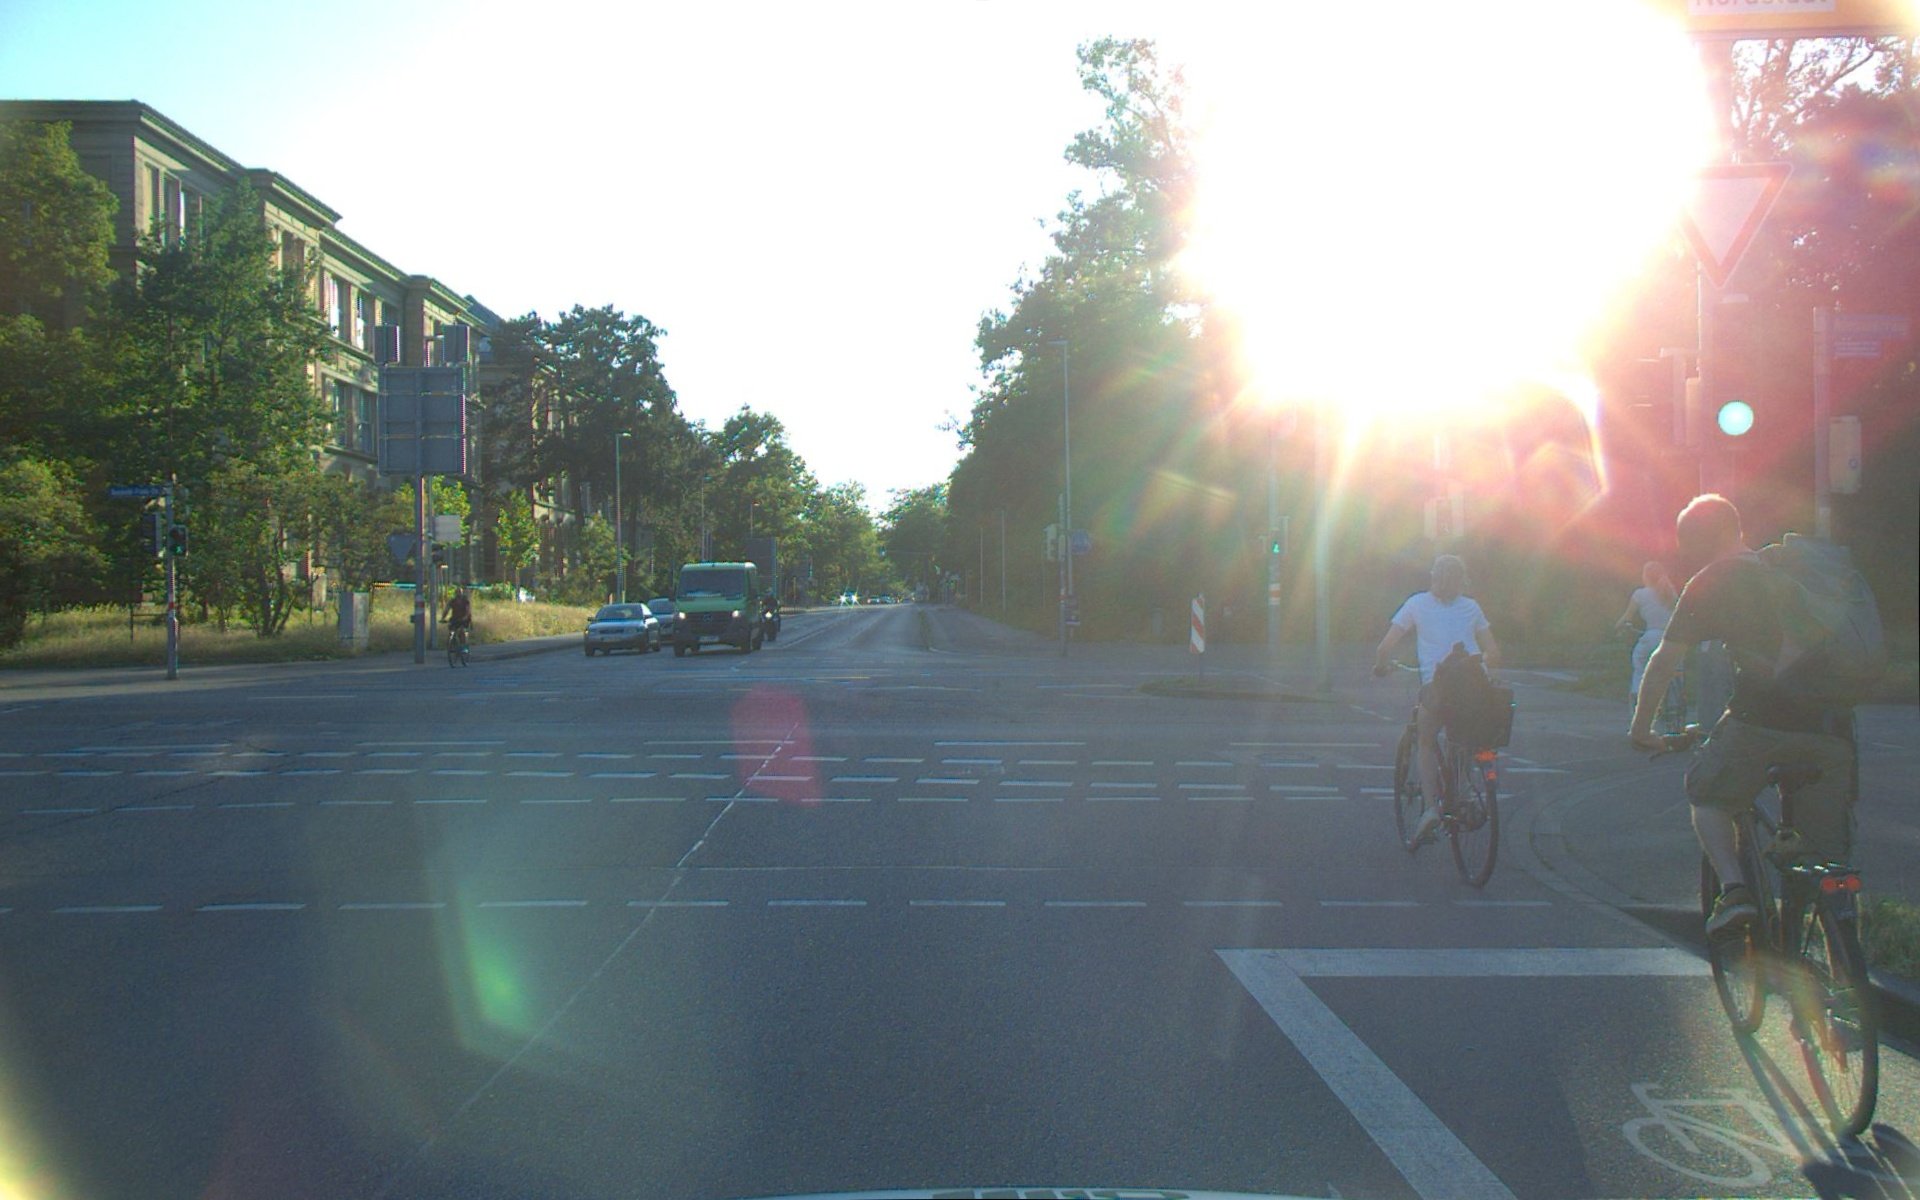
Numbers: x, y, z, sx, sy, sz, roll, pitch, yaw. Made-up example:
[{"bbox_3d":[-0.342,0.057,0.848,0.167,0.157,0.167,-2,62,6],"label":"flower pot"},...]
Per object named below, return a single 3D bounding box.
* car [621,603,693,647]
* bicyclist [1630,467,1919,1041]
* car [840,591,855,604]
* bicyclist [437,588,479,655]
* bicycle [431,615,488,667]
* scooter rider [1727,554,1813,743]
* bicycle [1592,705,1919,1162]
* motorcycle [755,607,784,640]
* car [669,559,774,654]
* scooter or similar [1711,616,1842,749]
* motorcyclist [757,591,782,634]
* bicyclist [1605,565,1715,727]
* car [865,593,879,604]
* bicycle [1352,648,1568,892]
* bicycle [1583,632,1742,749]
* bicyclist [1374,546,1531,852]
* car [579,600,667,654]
[{"bbox_3d":[-9.896,0.804,54.218,1.729,1.351,3.642,-1,0,-1],"label":"car"},{"bbox_3d":[2.633,0.453,5.312,0.683,1.696,0.799,1,0,5],"label":"bicyclist"},{"bbox_3d":[-13.593,-0.334,200.365,1.735,1.500,3.772,-1,0,-5],"label":"car"},{"bbox_3d":[-11.654,0.497,38.409,0.669,1.539,0.955,-1,0,-1],"label":"bicyclist"},{"bbox_3d":[-11.645,0.936,38.544,0.672,1.143,2.168,-1,0,-1],"label":"bicycle"},{"bbox_3d":[7.824,0.461,15.991,0.554,1.797,0.505,-1,-1,0],"label":"scooter rider"},{"bbox_3d":[2.626,0.936,5.256,0.684,1.081,1.826,0,0,5],"label":"bicycle"},{"bbox_3d":[-6.268,0.765,54.463,0.739,1.019,1.878,-1,0,-1],"label":"motorcycle"},{"bbox_3d":[-6.242,0.158,43.958,1.997,2.317,5.940,-1,0,-1],"label":"car"},{"bbox_3d":[7.826,0.766,15.908,0.550,1.210,1.422,0,0,0],"label":"scooter or similar"},{"bbox_3d":[-6.270,0.416,54.496,0.734,1.382,0.704,-1,-1,-1],"label":"motorcyclist"},{"bbox_3d":[6.858,0.435,16.239,0.744,1.544,0.857,0,0,2],"label":"bicyclist"},{"bbox_3d":[-12.989,-0.202,244.261,1.954,1.668,3.997,-1,0,-4],"label":"car"},{"bbox_3d":[2.720,0.877,9.196,0.601,1.158,1.884,0,0,-1],"label":"bicycle"},{"bbox_3d":[6.858,0.855,16.259,0.755,1.024,2.017,0,0,2],"label":"bicycle"},{"bbox_3d":[2.721,0.523,9.210,0.591,1.613,0.909,0,0,-1],"label":"bicyclist"},{"bbox_3d":[-9.490,0.725,46.895,1.694,1.433,4.139,-1,0,-1],"label":"car"}]
